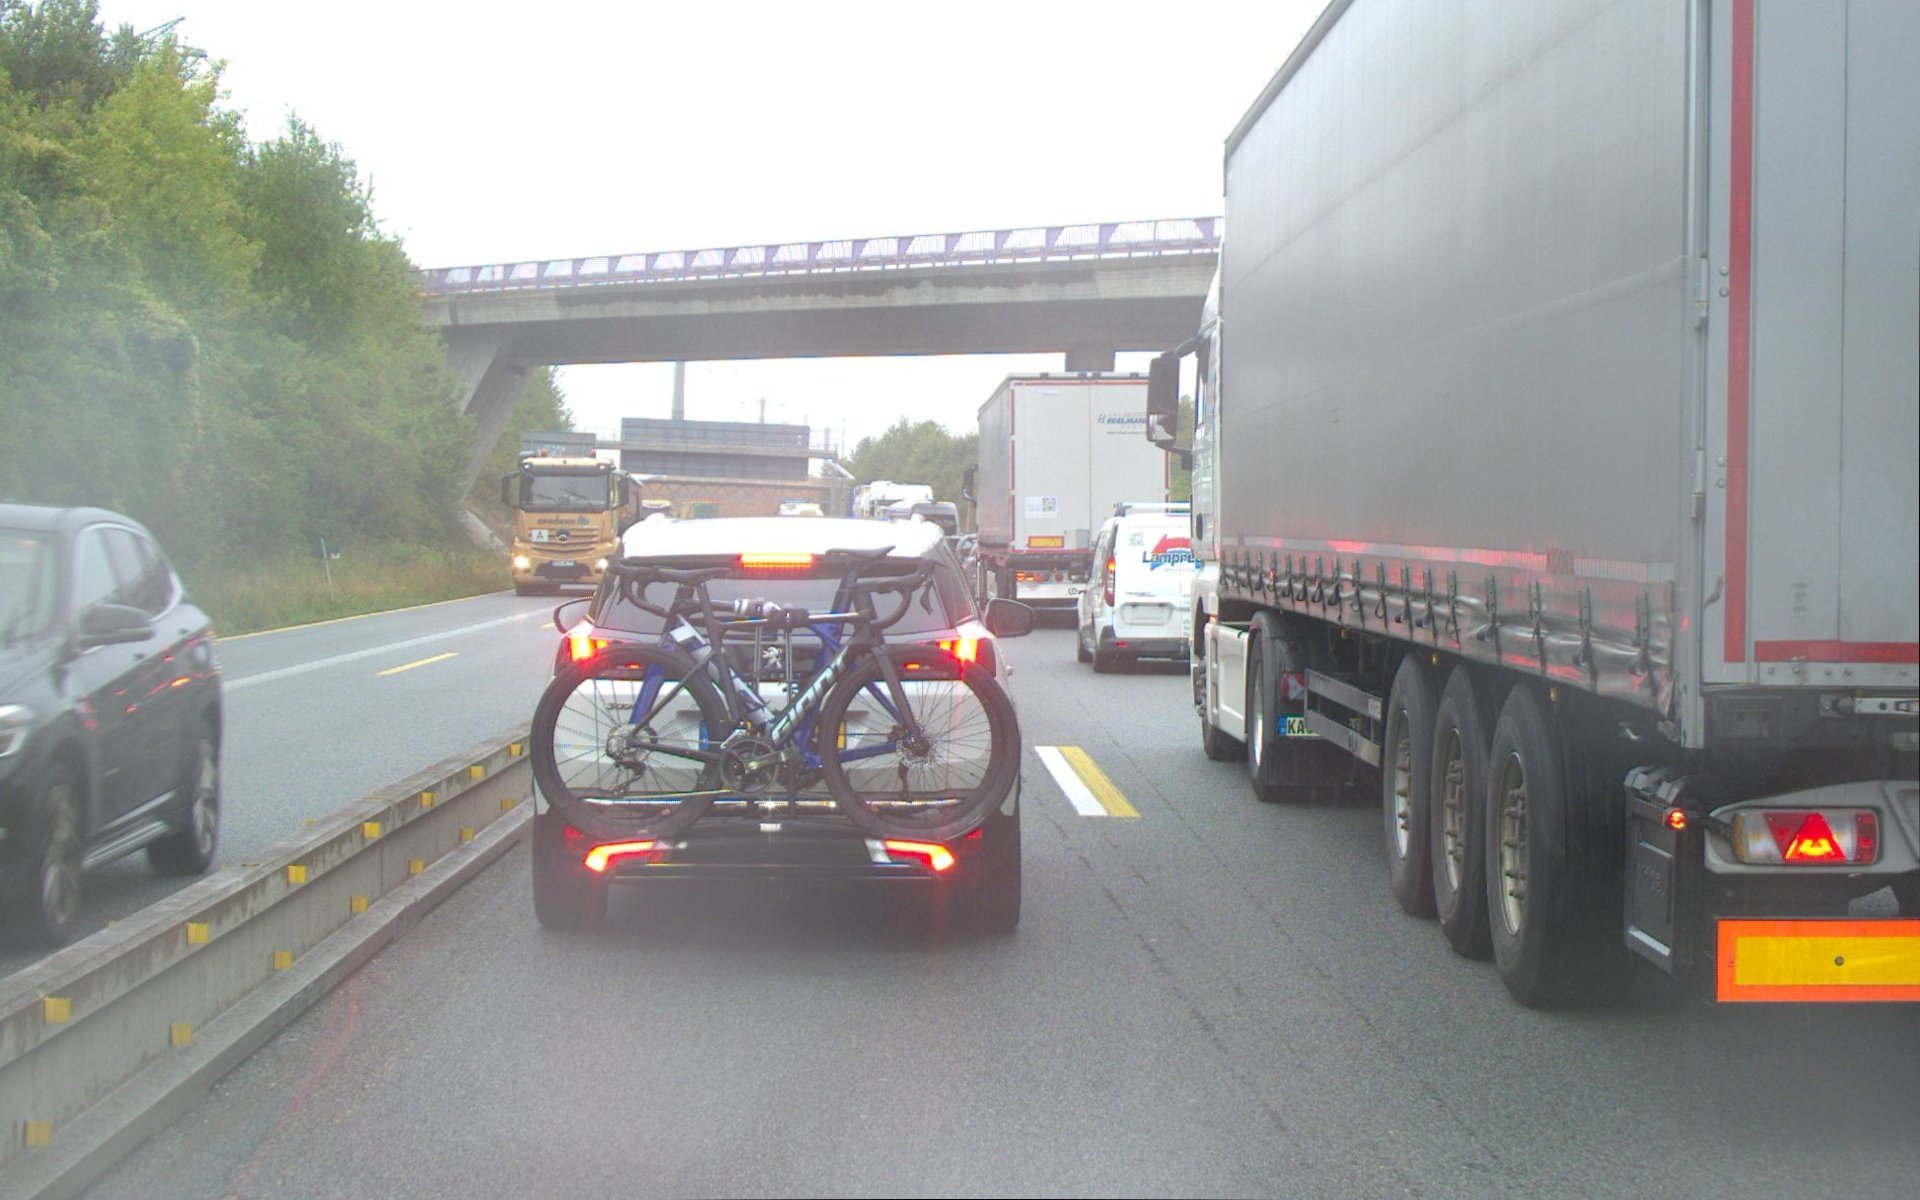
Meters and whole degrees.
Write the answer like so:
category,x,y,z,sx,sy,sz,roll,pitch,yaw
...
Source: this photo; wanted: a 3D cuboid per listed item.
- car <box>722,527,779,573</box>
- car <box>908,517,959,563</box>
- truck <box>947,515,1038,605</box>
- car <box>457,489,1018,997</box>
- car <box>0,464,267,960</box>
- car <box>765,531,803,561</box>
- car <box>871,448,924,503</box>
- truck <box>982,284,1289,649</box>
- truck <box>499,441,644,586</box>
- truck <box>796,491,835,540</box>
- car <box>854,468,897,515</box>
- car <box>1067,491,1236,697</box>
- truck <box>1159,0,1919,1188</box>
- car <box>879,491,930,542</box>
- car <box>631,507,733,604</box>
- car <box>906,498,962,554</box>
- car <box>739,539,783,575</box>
category,x,y,z,sx,sy,sz,roll,pitch,yaw
car,-6.585,-1.573,108.358,1.686,1.404,3.931,1,1,-2
car,-0.872,-1.957,112.669,1.638,1.492,3.666,1,1,0
truck,0.728,-0.930,79.846,1.993,2.007,4.000,1,1,-1
car,-0.704,0.433,13.497,1.810,1.632,4.635,1,1,0
car,-4.031,0.330,13.338,1.810,1.627,4.118,1,1,1
car,-8.228,-2.520,160.835,1.686,1.404,3.931,1,1,-2
car,-2.726,-5.457,150.883,2.239,2.299,4.572,1,1,0
truck,2.828,-2.220,63.912,4.743,5.654,20.376,1,1,0
truck,-9.562,-2.082,85.822,2.535,3.341,12.051,1,1,-2
truck,-10.232,-5.961,243.639,2.535,3.341,12.051,1,1,-2
car,-4.030,-5.181,164.650,1.993,2.119,4.527,1,1,0
car,2.112,-0.096,38.899,1.670,2.173,4.535,1,1,0
truck,3.551,-1.651,17.760,3.979,5.654,20.376,1,1,0
car,-2.215,-3.349,138.137,1.993,2.007,4.000,1,1,0
car,-5.453,-0.881,67.801,1.810,1.817,4.636,1,1,-2
car,-0.964,-2.712,126.260,1.993,2.007,4.000,1,1,0
car,-8.748,-1.900,151.587,1.810,1.554,3.990,1,1,-1
